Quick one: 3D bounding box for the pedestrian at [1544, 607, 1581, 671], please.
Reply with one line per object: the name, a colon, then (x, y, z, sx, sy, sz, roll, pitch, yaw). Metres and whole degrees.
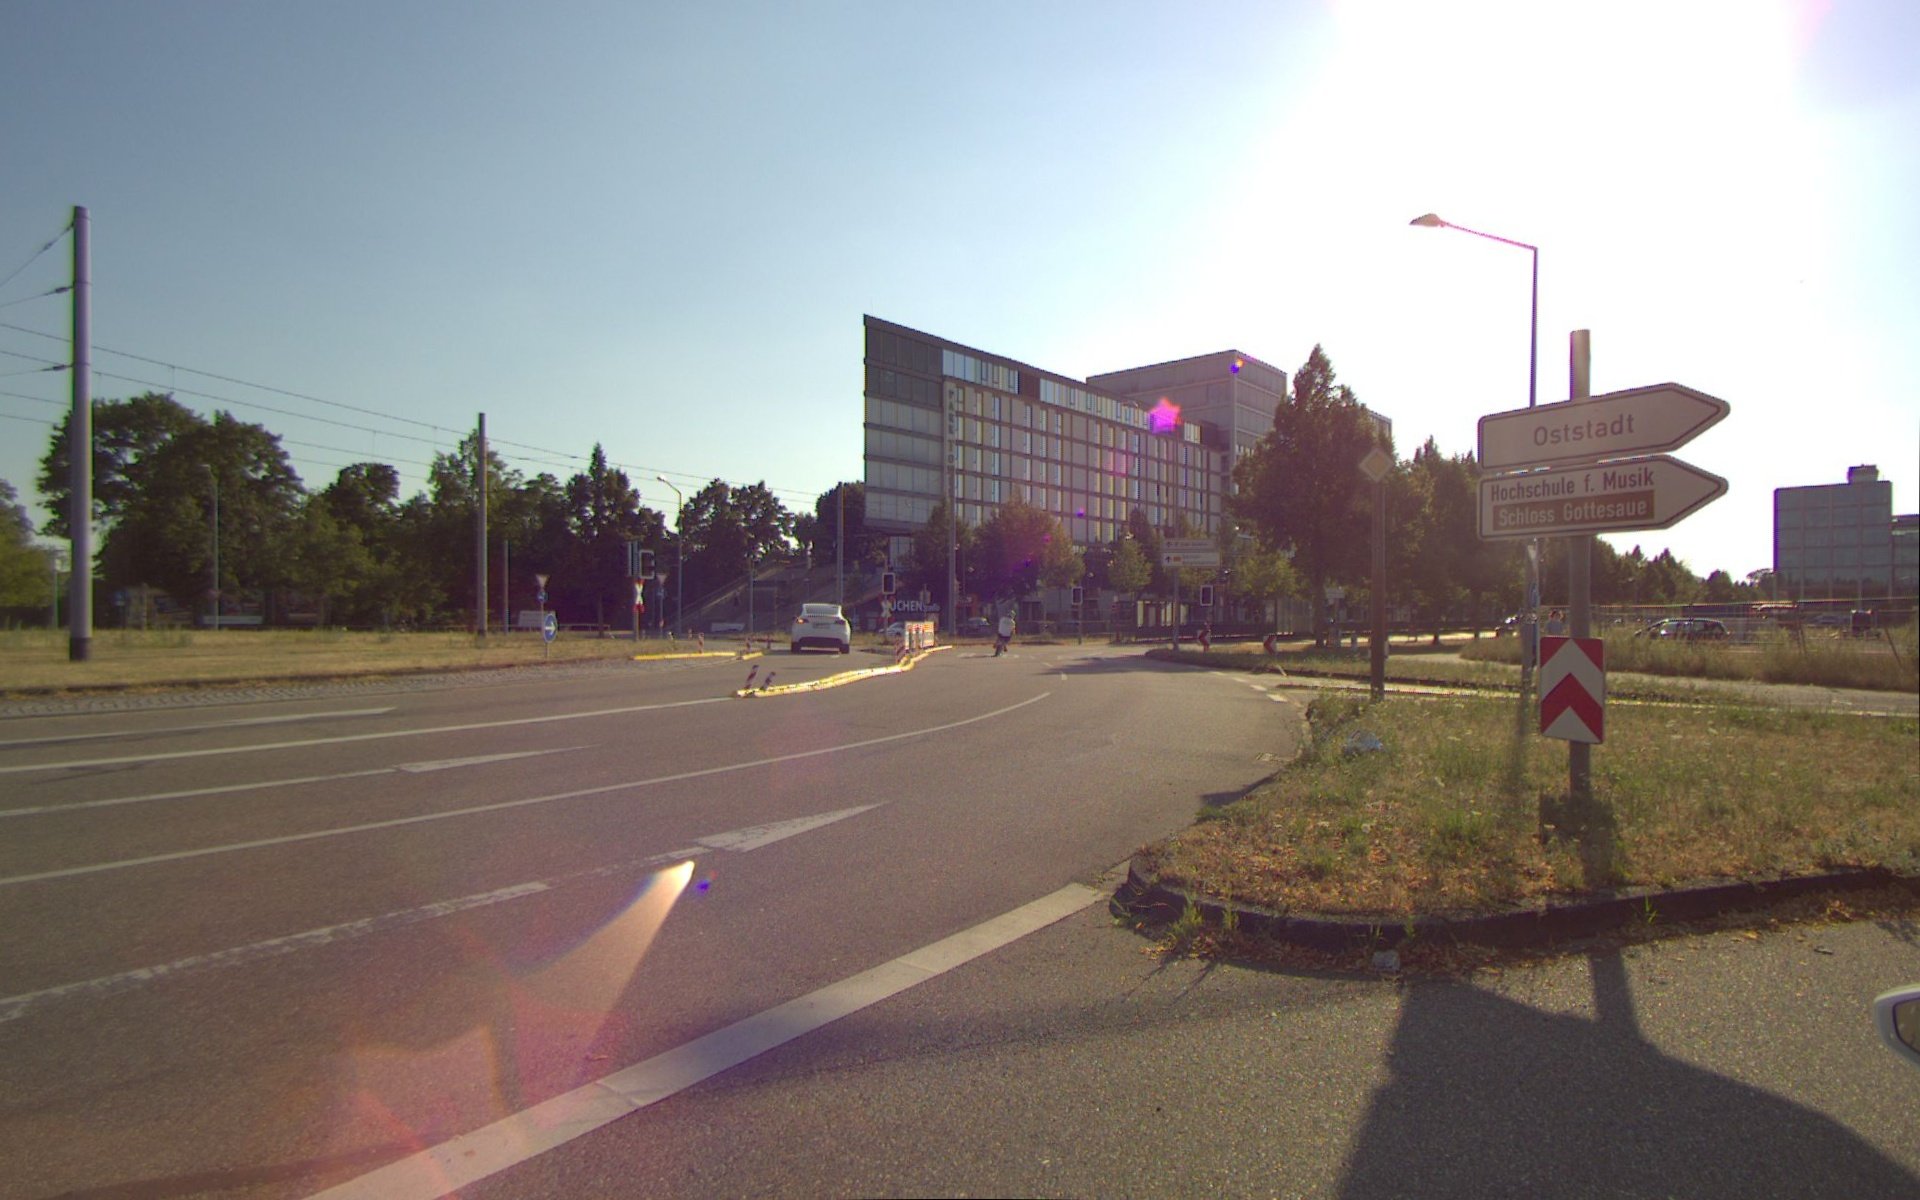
pedestrian: (17.075, 1.099, 28.492, 0.745, 1.799, 0.772, 0, -1, 19)

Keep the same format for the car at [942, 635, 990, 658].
car: (0.457, 3.359, 73.299, 3.308, 1.595, 1.547, 1, -1, -38)

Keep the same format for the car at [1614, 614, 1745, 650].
car: (29.189, 1.270, 40.929, 4.171, 1.381, 1.995, -1, -1, 32)

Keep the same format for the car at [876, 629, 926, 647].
car: (-4.316, 2.739, 73.473, 1.637, 1.256, 3.481, -1, -2, 45)

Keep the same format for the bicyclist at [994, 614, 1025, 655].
bicyclist: (1.745, 1.205, 35.310, 0.857, 1.429, 0.626, 1, 0, 38)

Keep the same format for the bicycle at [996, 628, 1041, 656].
bicycle: (2.056, 1.450, 35.263, 0.837, 0.941, 1.714, 0, -1, 34)

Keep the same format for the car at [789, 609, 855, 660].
car: (-4.684, 1.109, 33.637, 1.965, 1.595, 3.992, 0, -1, -11)

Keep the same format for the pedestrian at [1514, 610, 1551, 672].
pedestrian: (16.316, 1.148, 28.650, 0.770, 1.731, 0.812, 0, -1, 19)
